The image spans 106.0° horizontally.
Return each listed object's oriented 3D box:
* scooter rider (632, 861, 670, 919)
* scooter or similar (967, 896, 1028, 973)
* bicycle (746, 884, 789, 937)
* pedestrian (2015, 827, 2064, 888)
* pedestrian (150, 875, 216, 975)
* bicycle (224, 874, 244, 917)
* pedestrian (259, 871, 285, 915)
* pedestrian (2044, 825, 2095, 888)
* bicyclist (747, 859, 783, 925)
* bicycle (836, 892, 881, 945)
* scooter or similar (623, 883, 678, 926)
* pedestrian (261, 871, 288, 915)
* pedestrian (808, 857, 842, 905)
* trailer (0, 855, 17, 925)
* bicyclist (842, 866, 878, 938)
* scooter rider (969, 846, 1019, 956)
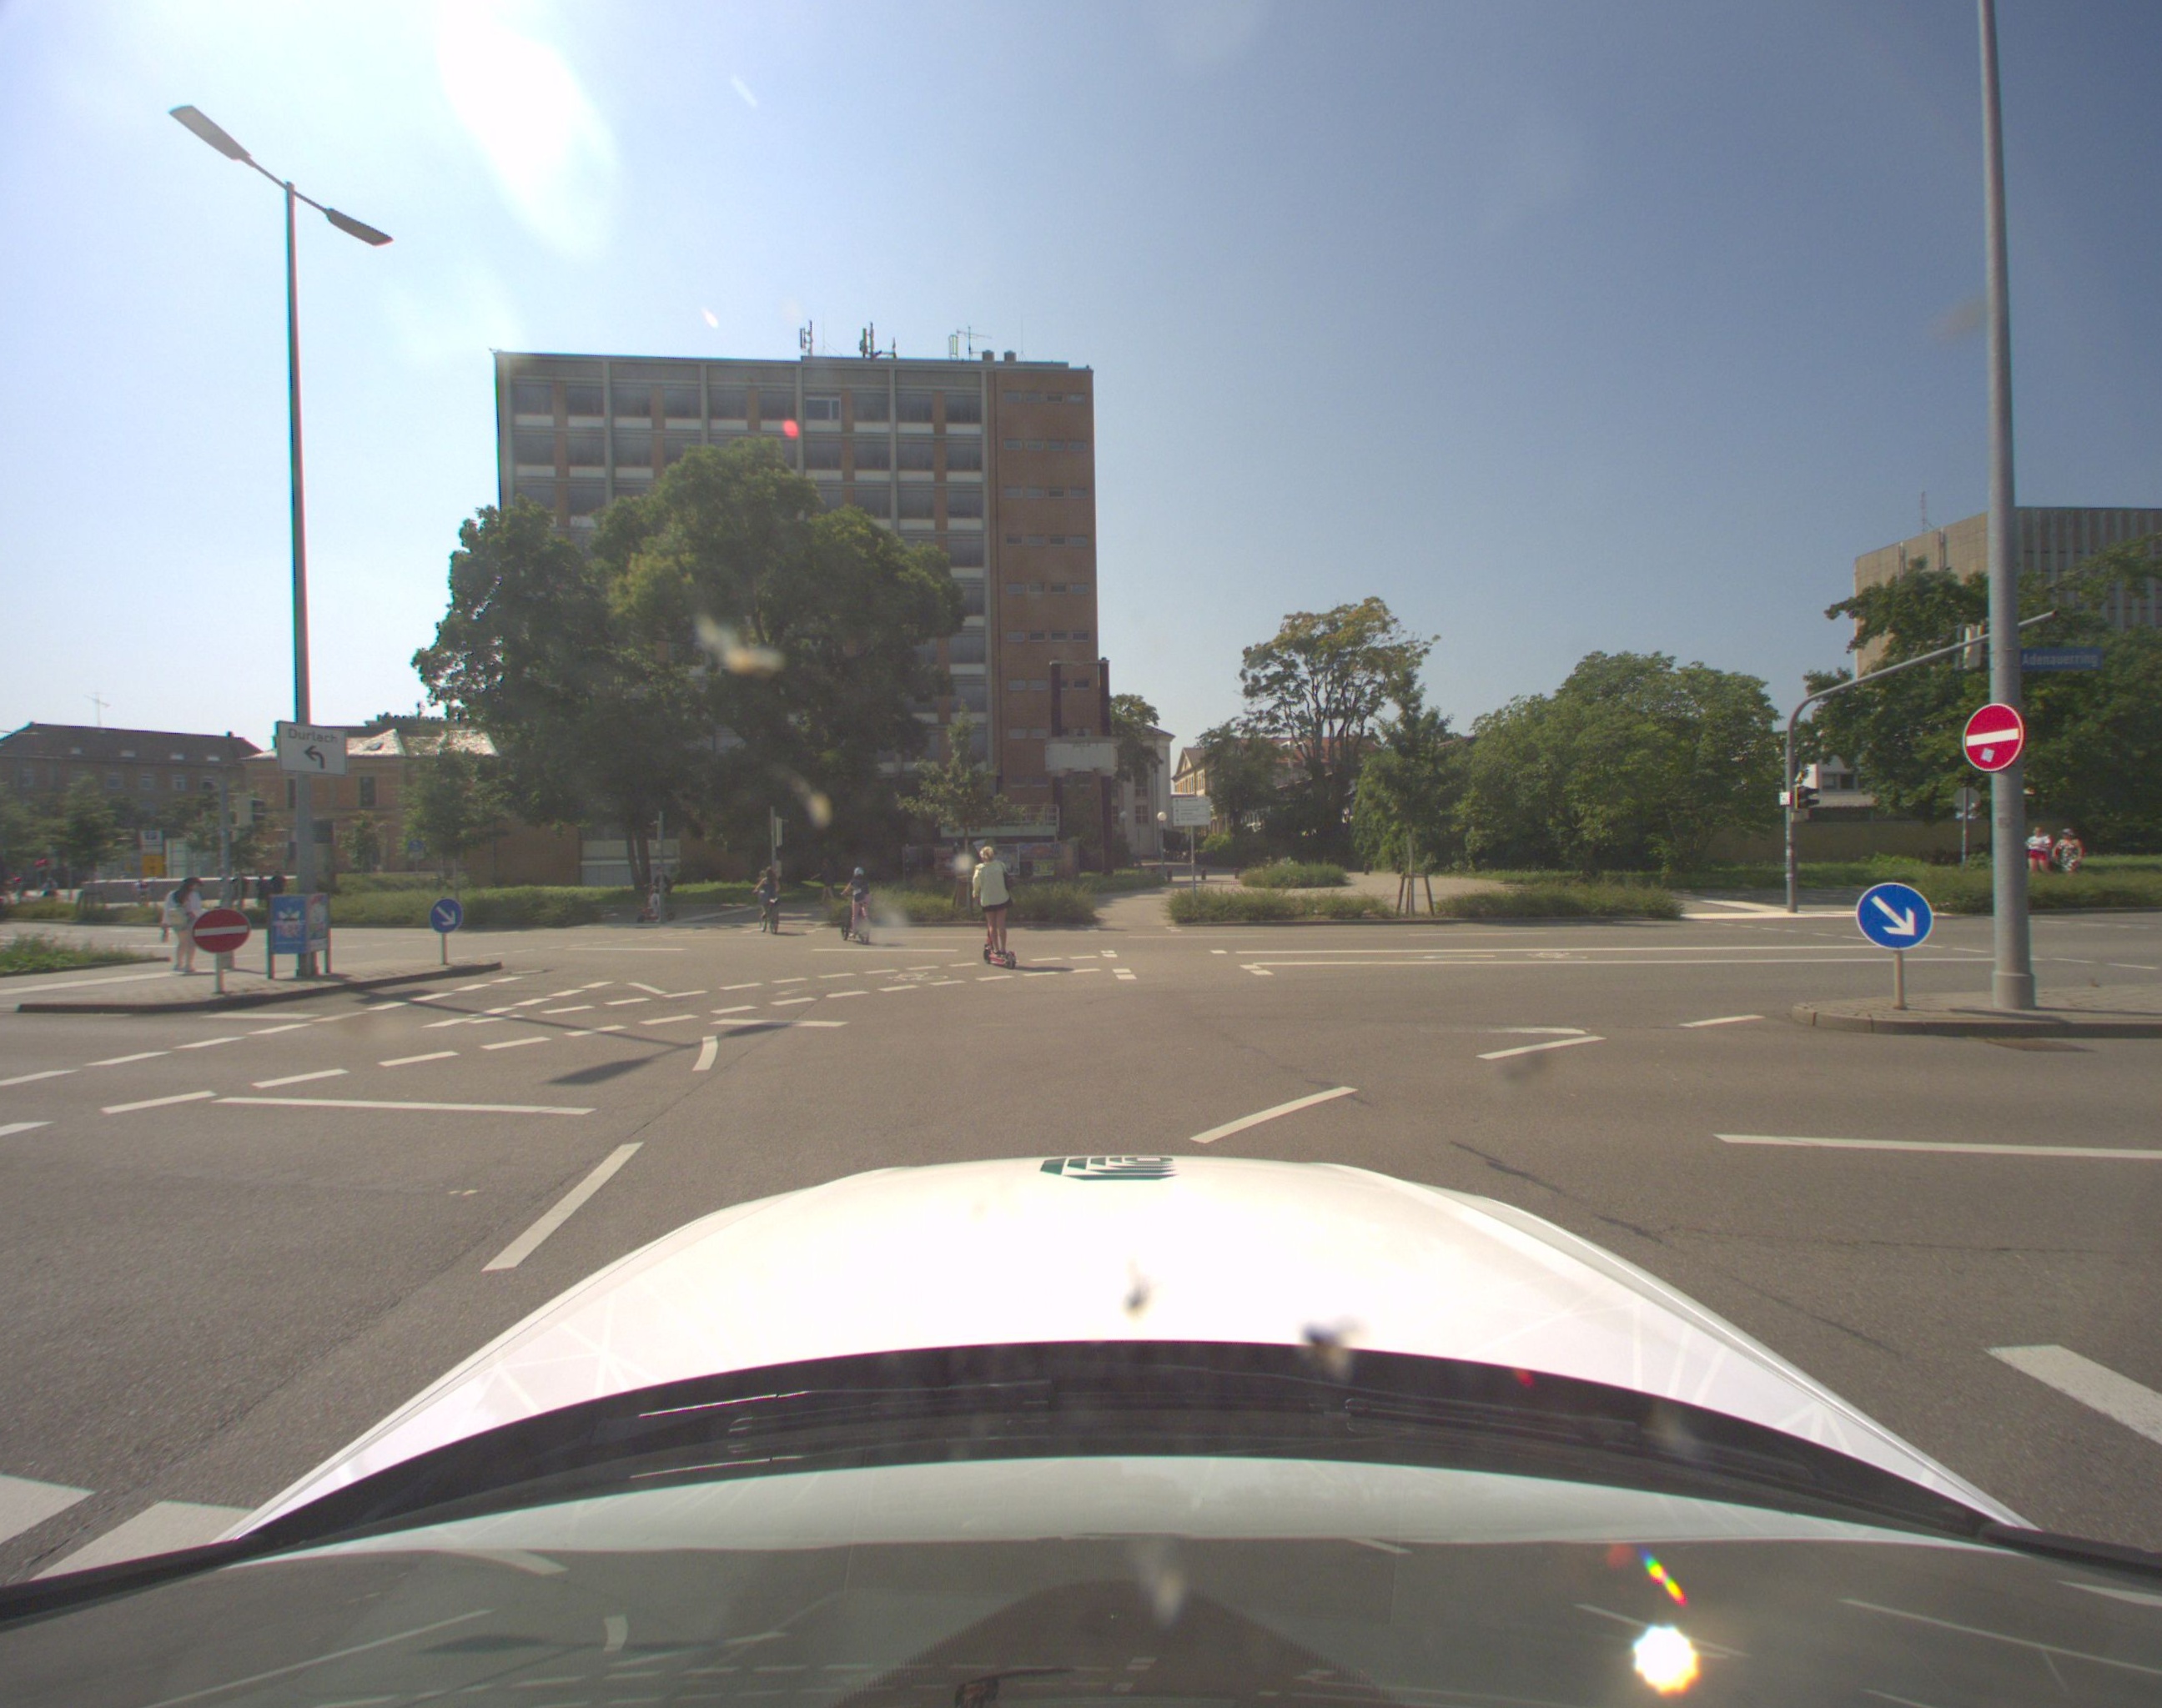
[{"bbox_3d":[-13.595,1.121,25.742,0.680,1.739,0.810,-1,1,38],"label":"scooter rider"},{"bbox_3d":[-1.352,1.222,12.907,0.558,1.060,1.992,-1,-1,-17],"label":"scooter or similar"},{"bbox_3d":[-8.150,1.432,21.096,0.698,1.154,2.349,-3,2,-29],"label":"bicycle"},{"bbox_3d":[28.324,0.104,24.076,0.583,1.771,0.694,-1,0,2],"label":"pedestrian"},{"bbox_3d":[-15.941,1.239,14.460,0.691,1.695,0.611,-1,0,29],"label":"pedestrian"},{"bbox_3d":[-37.528,1.815,36.087,1.345,1.860,0.460,-1,0,37],"label":"bicycle"},{"bbox_3d":[-37.463,1.796,37.711,0.744,1.973,0.785,-1,0,40],"label":"pedestrian"},{"bbox_3d":[28.321,0.067,23.336,0.583,1.771,0.694,-1,0,2],"label":"pedestrian"},{"bbox_3d":[-8.235,0.969,21.201,0.694,1.598,0.836,-3,2,-29],"label":"bicyclist"},{"bbox_3d":[-4.934,1.386,17.967,0.559,1.060,1.986,0,-1,-27],"label":"bicycle"},{"bbox_3d":[-13.615,1.571,25.785,0.578,1.234,1.377,-1,1,38],"label":"scooter or similar"},{"bbox_3d":[-36.748,1.771,37.121,0.744,1.973,0.785,-1,0,40],"label":"pedestrian"},{"bbox_3d":[-9.298,0.971,29.594,0.870,1.704,0.711,-1,2,14],"label":"pedestrian"},{"bbox_3d":[-49.943,1.602,35.911,6.246,3.008,2.485,-1,-2,27],"label":"trailer"},{"bbox_3d":[-4.818,1.027,17.730,0.552,1.496,0.796,-1,0,-28],"label":"bicyclist"},{"bbox_3d":[-1.402,0.744,13.033,0.672,1.700,0.536,-1,-2,-18],"label":"scooter rider"}]
